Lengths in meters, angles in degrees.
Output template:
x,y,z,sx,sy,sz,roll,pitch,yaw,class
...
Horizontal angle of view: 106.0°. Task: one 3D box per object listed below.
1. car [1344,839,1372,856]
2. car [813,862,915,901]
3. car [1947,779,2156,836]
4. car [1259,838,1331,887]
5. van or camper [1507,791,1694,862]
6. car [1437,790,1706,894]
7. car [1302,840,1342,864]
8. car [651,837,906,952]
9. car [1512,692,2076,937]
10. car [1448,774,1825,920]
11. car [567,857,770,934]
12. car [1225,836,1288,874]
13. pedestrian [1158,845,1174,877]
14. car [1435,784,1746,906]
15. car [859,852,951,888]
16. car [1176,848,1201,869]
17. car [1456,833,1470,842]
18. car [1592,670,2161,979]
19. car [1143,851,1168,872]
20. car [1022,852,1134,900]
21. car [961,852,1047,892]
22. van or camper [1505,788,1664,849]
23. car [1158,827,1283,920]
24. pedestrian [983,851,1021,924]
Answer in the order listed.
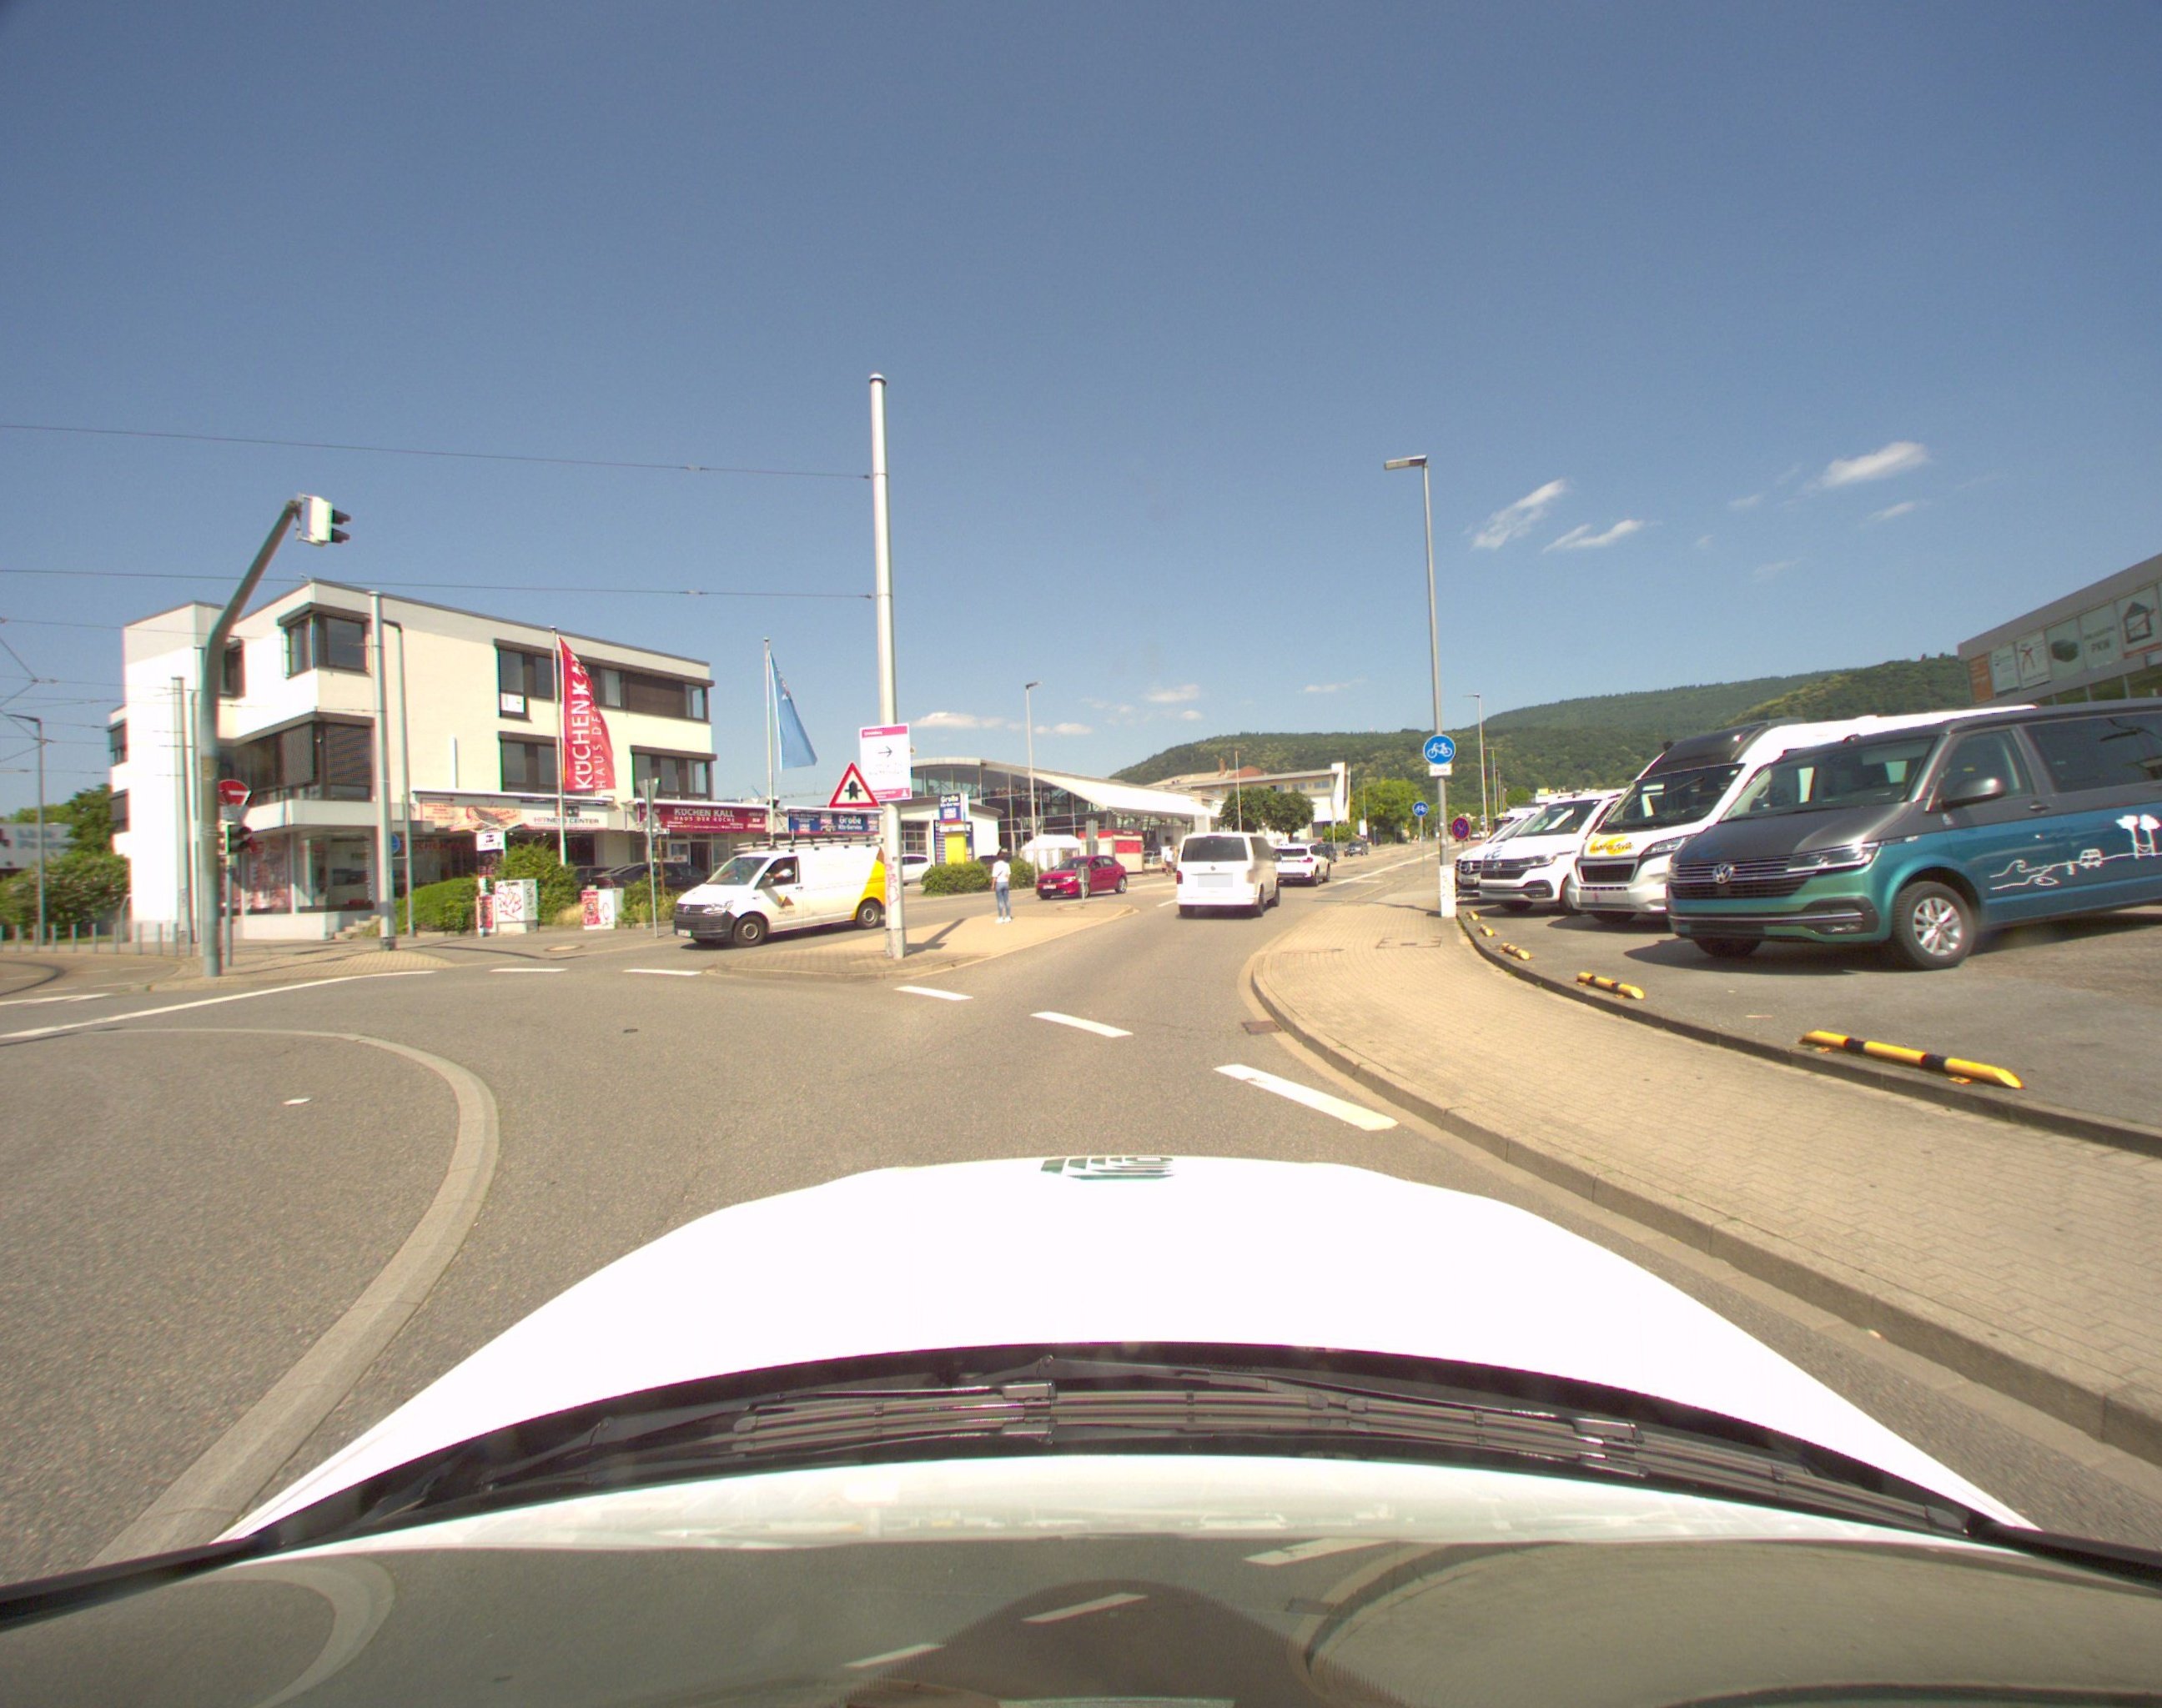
x,y,z,sx,sy,sz,roll,pitch,yaw,class
25.940,-0.610,76.232,1.824,1.464,4.024,-3,0,27,car
-9.824,1.226,37.233,2.007,1.427,4.343,-3,0,27,car
31.829,-1.481,26.900,3.949,1.518,1.903,-3,0,29,car
8.344,0.278,31.458,1.975,1.707,4.024,0,2,25,car
22.137,-1.091,35.127,6.441,2.561,2.993,-3,0,30,van or camper
11.530,-0.238,19.402,5.127,2.094,2.048,-3,-2,-2,car
16.953,-0.141,57.163,1.824,1.464,4.025,-3,0,28,car
-6.530,0.769,18.179,2.001,2.114,4.966,-2,1,37,car
9.540,-0.546,11.181,6.133,2.717,2.300,-3,0,-8,car
9.296,-0.117,13.885,5.136,2.000,2.021,-4,-1,-6,car
-12.564,1.205,25.257,1.940,1.965,5.315,-3,0,32,car
9.151,0.030,42.147,1.890,1.760,4.479,-3,0,29,car
4.998,0.409,48.095,0.754,1.788,0.787,-3,0,12,pedestrian
10.276,-0.171,16.706,5.119,2.013,1.929,-4,0,-2,car
-9.149,0.782,42.713,1.863,1.588,4.958,-5,-1,27,car
8.606,0.351,65.259,1.737,1.585,3.666,-3,0,4,car
61.132,-2.615,130.237,1.702,1.303,4.025,-4,0,28,car
7.908,-0.328,7.502,5.211,2.113,2.090,-5,-2,-10,car
5.966,0.567,64.764,1.735,1.585,3.670,-3,0,8,car
-0.008,0.735,28.301,1.823,1.464,4.170,-4,-1,33,car
-3.572,0.808,38.452,1.974,1.618,4.026,-3,0,31,car
25.416,-1.701,41.483,6.542,2.561,3.421,-3,0,30,van or camper
3.649,0.403,20.361,2.144,2.013,5.044,-1,0,20,car
-1.866,0.773,19.139,0.760,1.656,0.670,-2,0,-13,pedestrian
